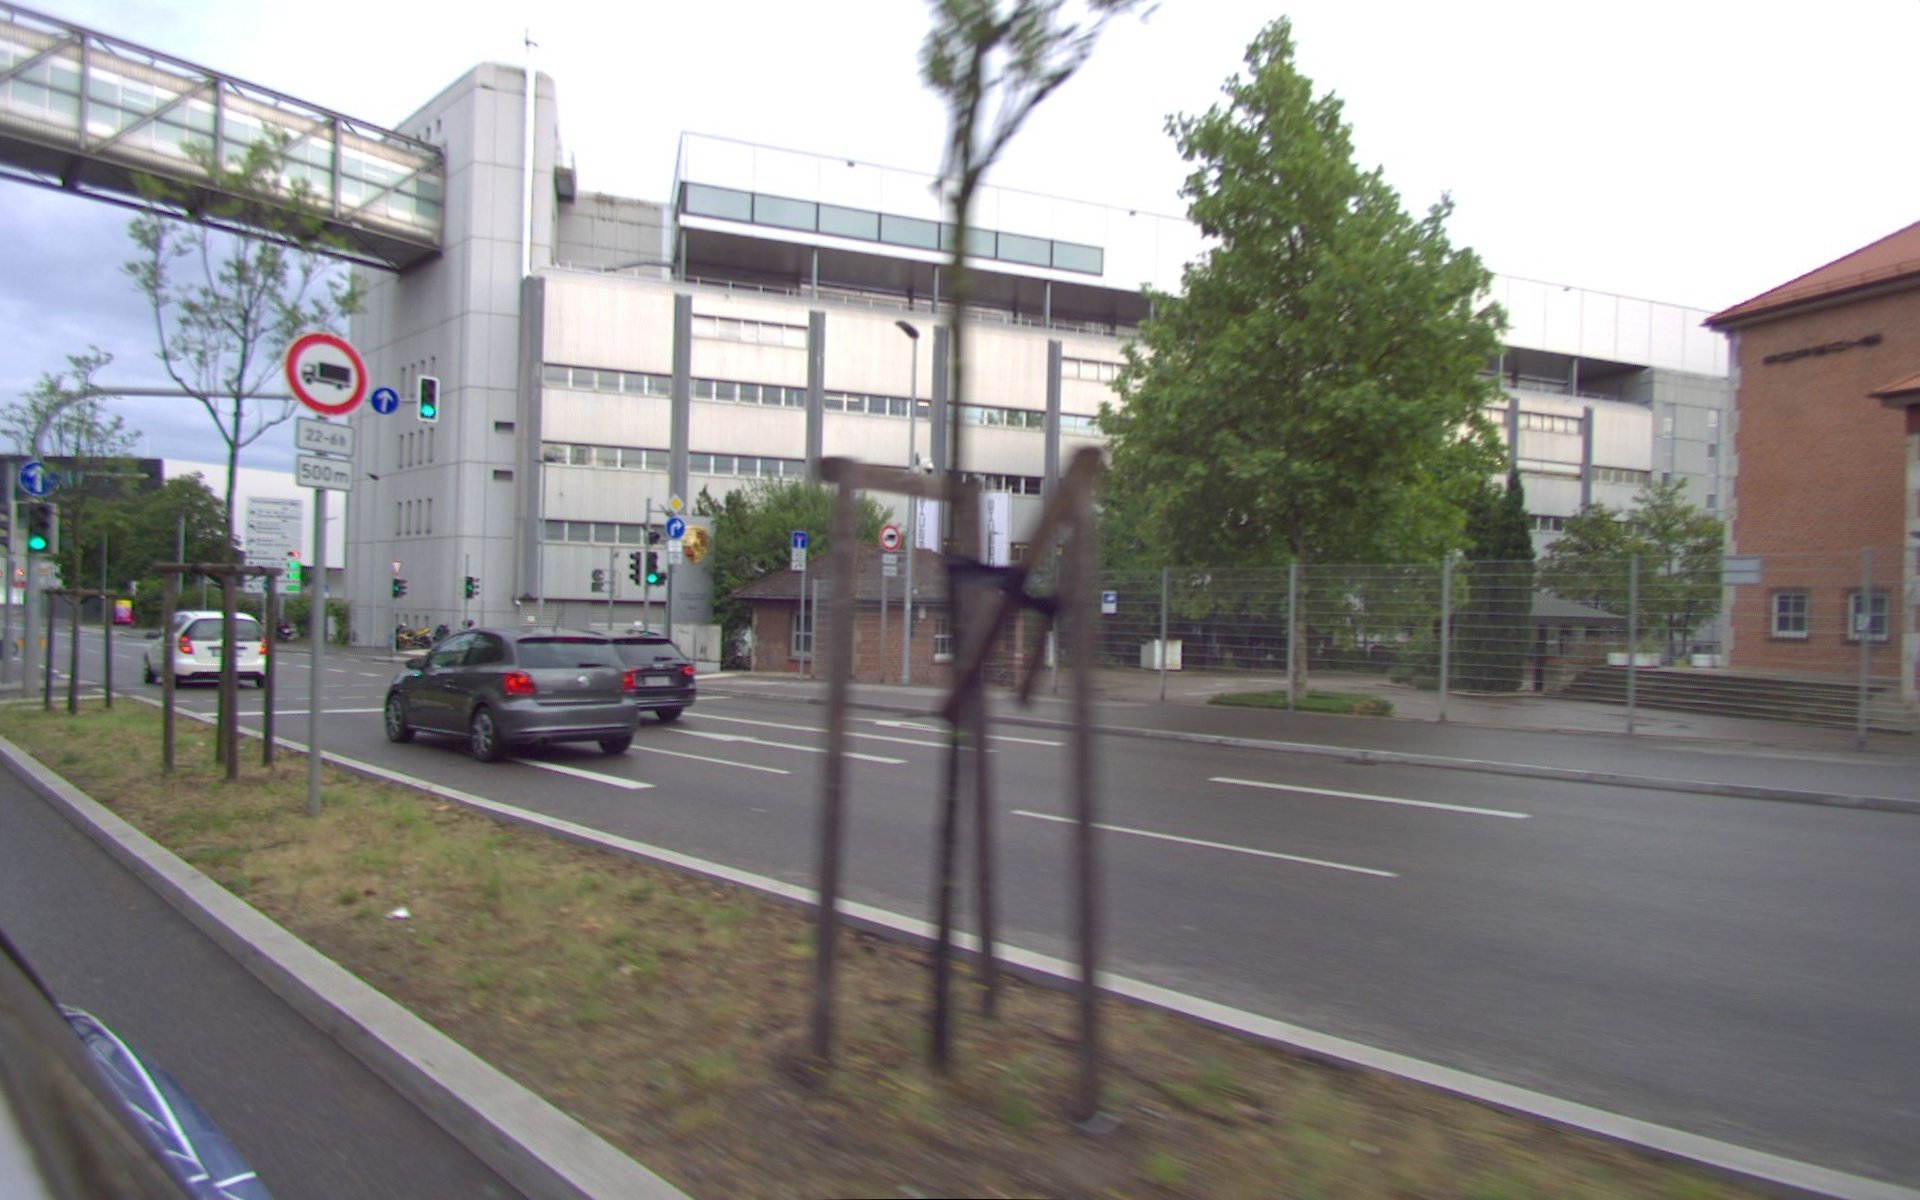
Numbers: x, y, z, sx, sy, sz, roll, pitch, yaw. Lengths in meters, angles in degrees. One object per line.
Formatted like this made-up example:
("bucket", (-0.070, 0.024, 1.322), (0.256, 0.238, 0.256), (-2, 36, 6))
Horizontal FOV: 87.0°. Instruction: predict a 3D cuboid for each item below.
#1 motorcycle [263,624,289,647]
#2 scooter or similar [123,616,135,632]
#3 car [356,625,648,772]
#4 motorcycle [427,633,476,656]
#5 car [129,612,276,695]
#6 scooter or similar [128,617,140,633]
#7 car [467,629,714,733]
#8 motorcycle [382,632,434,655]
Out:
("motorcycle", (-35.909, 1.847, 53.146), (2.037, 1.171, 0.561), (0, -3, 40))
("scooter or similar", (-62.347, 1.817, 75.926), (1.568, 1.138, 0.389), (0, -3, 42))
("car", (-5.487, 1.027, 11.892), (4.110, 1.414, 1.561), (-1, -3, 42))
("motorcycle", (-23.778, 2.083, 47.368), (2.150, 1.035, 0.624), (1, -2, 15))
("car", (-16.571, 1.106, 22.053), (4.485, 1.602, 1.752), (0, -3, 43))
("scooter or similar", (-60.984, 1.868, 74.737), (1.568, 1.138, 0.389), (0, -3, 42))
("car", (-6.075, 1.214, 16.361), (4.613, 1.414, 1.754), (-1, -3, 42))
("motorcycle", (-26.047, 2.031, 47.751), (2.144, 1.035, 0.625), (1, -2, 7))
